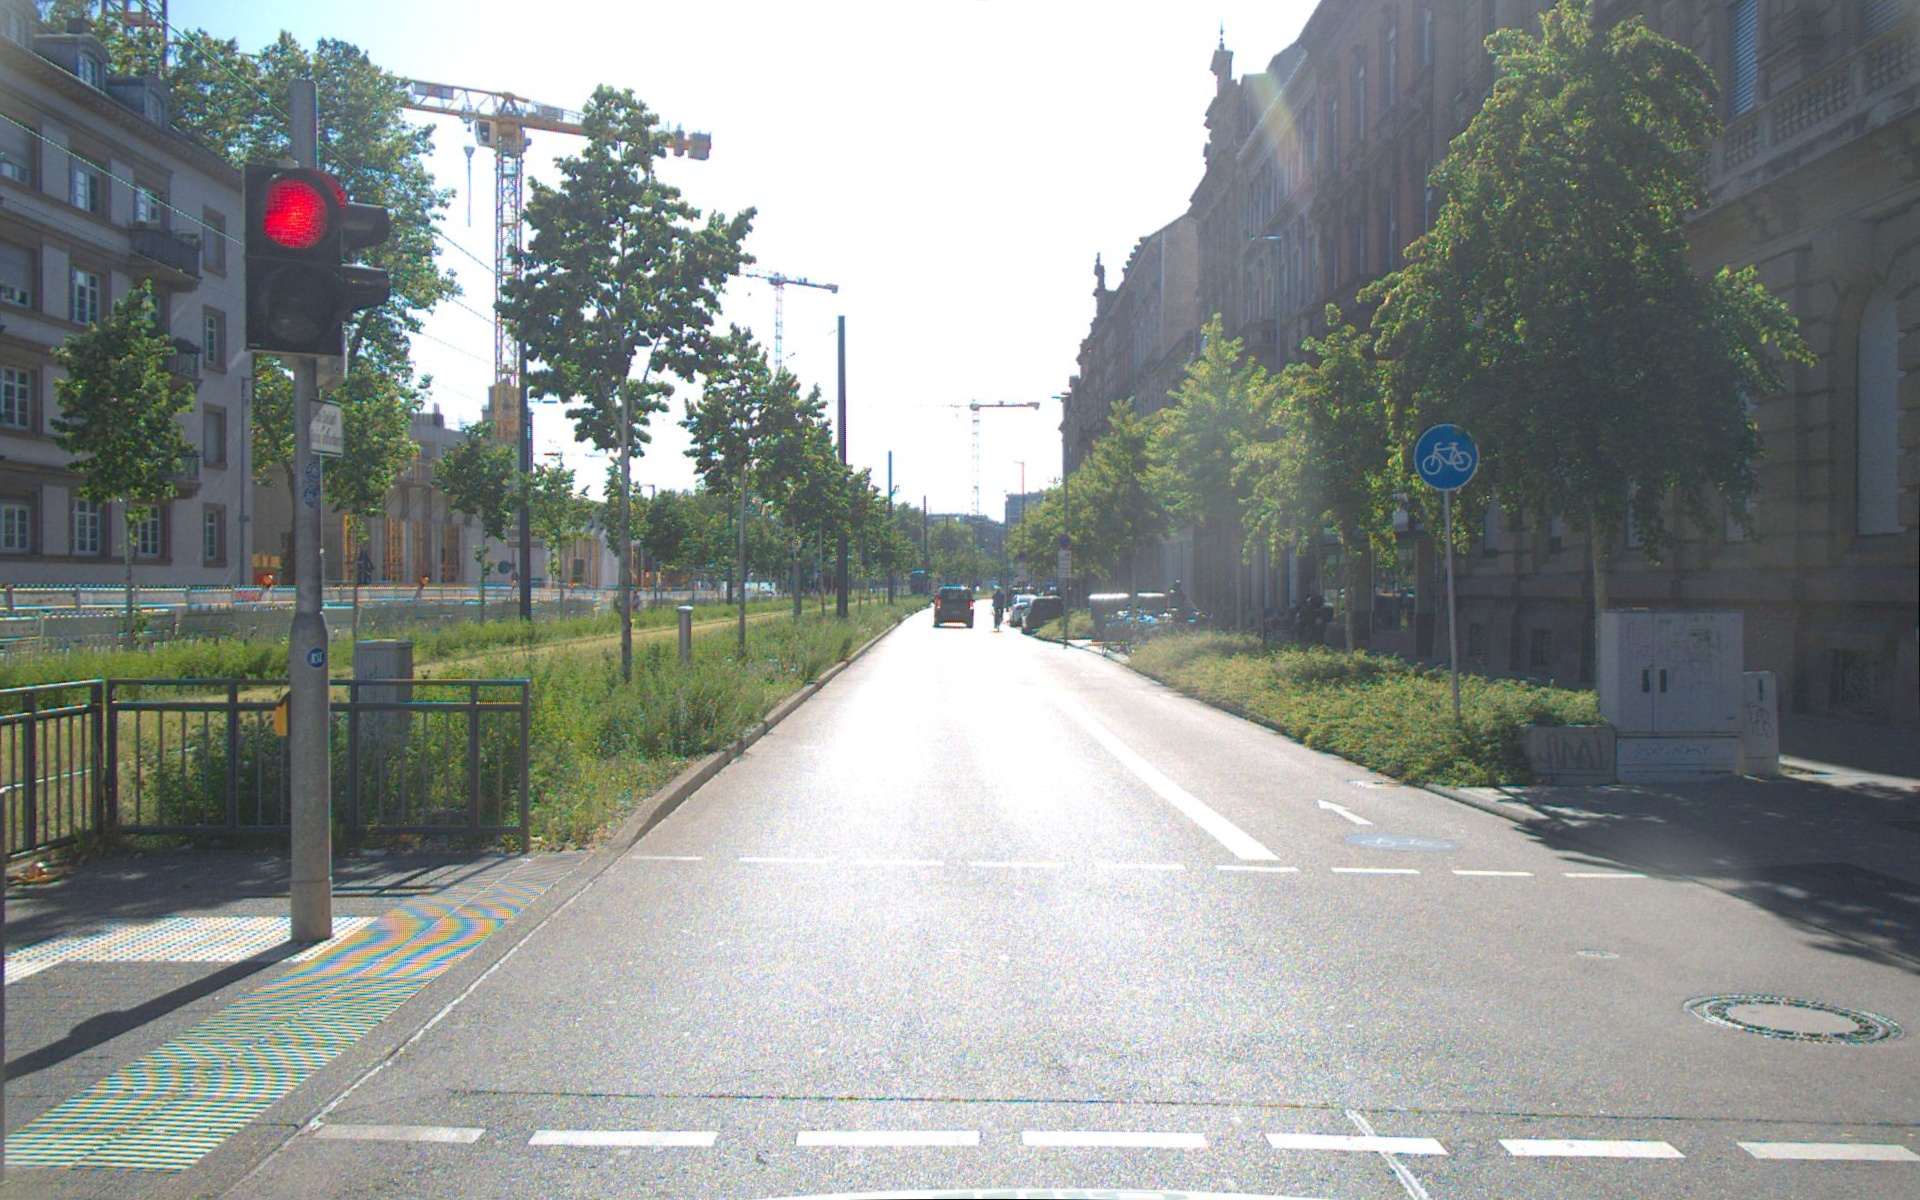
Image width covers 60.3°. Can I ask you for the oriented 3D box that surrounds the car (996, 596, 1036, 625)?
[{"bbox_3d":[3.096,0.575,92.336,1.987,1.525,4.529,0,0,-1],"label":"car"}]

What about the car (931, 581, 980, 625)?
[{"bbox_3d":[-0.232,0.139,76.318,2.155,1.960,4.653,0,0,-1],"label":"car"}]

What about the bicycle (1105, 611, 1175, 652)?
[{"bbox_3d":[4.641,0.811,42.708,1.756,1.048,0.527,0,0,-1],"label":"bicycle"}]

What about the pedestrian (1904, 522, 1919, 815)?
[{"bbox_3d":[6.889,0.451,11.212,0.642,1.942,1.072,0,0,42],"label":"pedestrian"}]

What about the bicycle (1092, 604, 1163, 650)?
[{"bbox_3d":[4.458,0.714,44.017,1.756,1.048,0.527,-4,0,-1],"label":"bicycle"}]

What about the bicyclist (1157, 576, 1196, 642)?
[{"bbox_3d":[5.390,0.218,41.194,0.782,1.556,0.662,-4,0,-2],"label":"bicyclist"}]

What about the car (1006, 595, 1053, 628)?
[{"bbox_3d":[3.342,0.528,79.812,1.987,1.525,4.529,0,0,-1],"label":"car"}]

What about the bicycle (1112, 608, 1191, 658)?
[{"bbox_3d":[4.584,0.786,39.594,1.756,1.048,0.527,-4,0,-1],"label":"bicycle"}]

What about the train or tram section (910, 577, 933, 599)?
[{"bbox_3d":[-5.032,-1.530,218.355,2.699,2.790,9.863,1,0,0],"label":"train or tram section"}]

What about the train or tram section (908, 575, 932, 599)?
[{"bbox_3d":[-5.030,-1.584,208.507,2.699,2.790,9.863,1,0,0],"label":"train or tram section"}]

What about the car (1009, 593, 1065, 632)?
[{"bbox_3d":[3.108,0.468,67.474,1.987,1.525,4.653,0,0,-1],"label":"car"}]

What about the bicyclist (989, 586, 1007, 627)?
[{"bbox_3d":[1.612,0.286,69.811,0.670,1.702,0.922,2,0,-2],"label":"bicyclist"}]

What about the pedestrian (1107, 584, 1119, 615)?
[{"bbox_3d":[8.406,-0.031,90.833,0.601,1.640,0.669,0,0,-1],"label":"pedestrian"}]

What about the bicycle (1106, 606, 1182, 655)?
[{"bbox_3d":[4.556,0.749,40.967,1.756,1.048,0.527,-4,0,-1],"label":"bicycle"}]

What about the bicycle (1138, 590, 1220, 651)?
[{"bbox_3d":[5.453,0.501,41.240,1.856,1.353,0.617,-4,0,-2],"label":"bicycle"}]

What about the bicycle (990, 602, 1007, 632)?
[{"bbox_3d":[1.623,0.721,69.550,0.589,1.201,1.869,2,0,-1],"label":"bicycle"}]

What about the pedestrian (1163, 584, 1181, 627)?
[{"bbox_3d":[8.310,0.215,64.726,0.601,1.640,0.669,0,0,-1],"label":"pedestrian"}]

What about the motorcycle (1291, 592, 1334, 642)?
[{"bbox_3d":[9.427,0.451,44.290,0.686,1.289,1.981,0,0,-1],"label":"motorcycle"}]
